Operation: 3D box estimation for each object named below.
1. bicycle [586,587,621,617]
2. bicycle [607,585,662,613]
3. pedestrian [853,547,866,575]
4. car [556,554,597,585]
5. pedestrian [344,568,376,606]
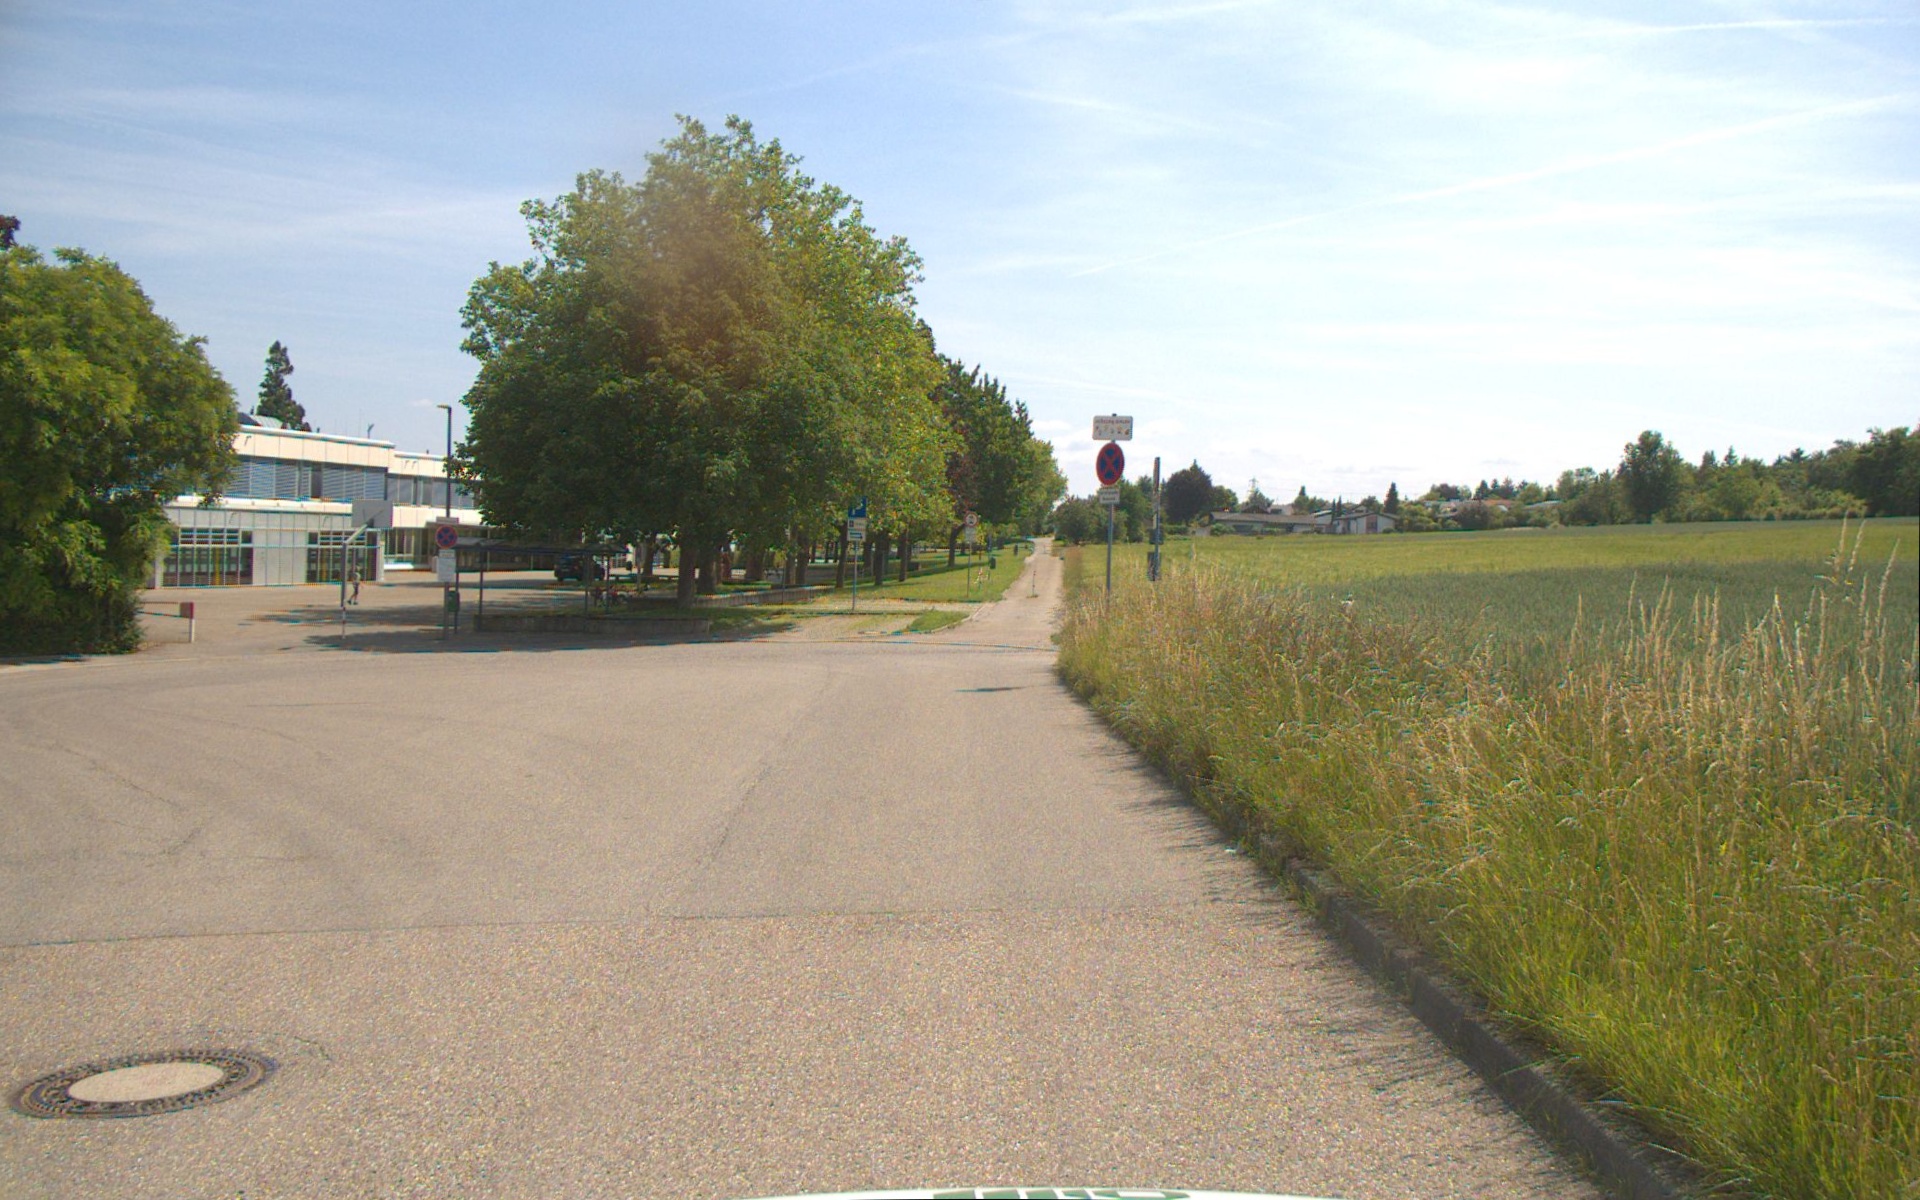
[{"bbox_3d":[-13.195,0.068,61.219,0.582,1.057,1.895,0,1,10],"label":"bicycle"},{"bbox_3d":[-12.433,-0.039,63.225,2.022,1.057,0.571,-1,1,-6],"label":"bicycle"},{"bbox_3d":[-7.285,-2.831,119.960,0.675,2.049,0.795,0,1,-30],"label":"pedestrian"},{"bbox_3d":[-23.253,-1.860,100.369,1.656,1.866,3.411,0,1,0],"label":"car"},{"bbox_3d":[-23.078,-0.514,63.608,1.053,1.448,0.912,0,1,-26],"label":"pedestrian"}]
